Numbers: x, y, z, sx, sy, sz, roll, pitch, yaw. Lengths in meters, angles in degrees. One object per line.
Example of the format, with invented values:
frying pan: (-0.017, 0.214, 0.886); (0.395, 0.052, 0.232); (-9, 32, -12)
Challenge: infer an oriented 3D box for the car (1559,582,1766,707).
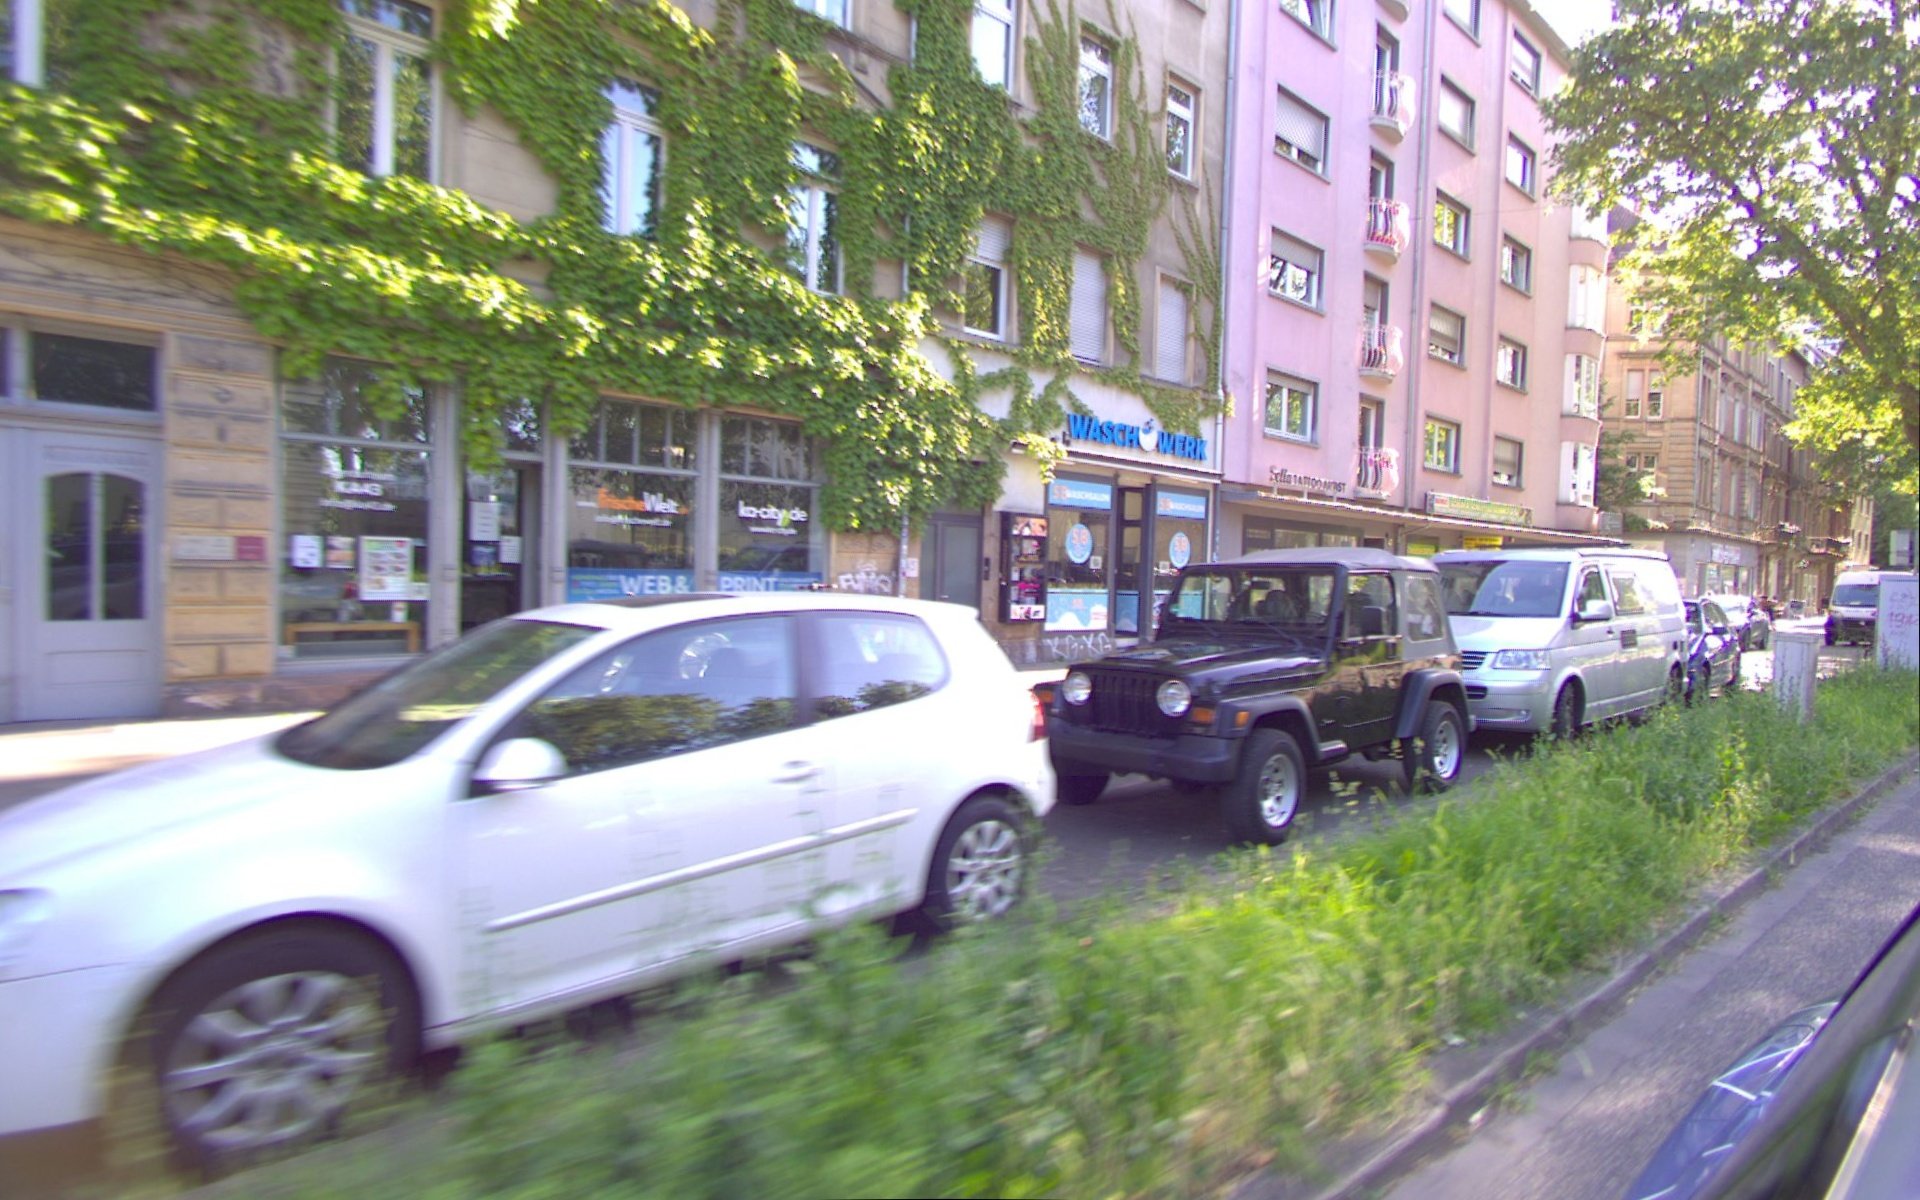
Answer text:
car: (10.027, 0.535, 14.344); (3.764, 1.497, 1.592); (0, 2, -43)

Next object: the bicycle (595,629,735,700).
bicycle: (-3.382, 0.721, 11.677); (1.486, 0.714, 0.469); (0, 2, -41)

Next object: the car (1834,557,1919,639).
car: (30.495, -0.077, 33.071); (5.753, 2.464, 2.078); (0, 1, -41)

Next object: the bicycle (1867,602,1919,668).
bicycle: (18.386, 0.665, 19.911); (1.718, 1.229, 0.466); (0, 2, -37)

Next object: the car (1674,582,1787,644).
car: (22.451, 0.346, 29.442); (4.064, 1.621, 1.814); (0, 2, -41)

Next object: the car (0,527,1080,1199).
car: (-1.479, 0.612, 3.888); (3.932, 1.537, 1.740); (0, 0, -43)

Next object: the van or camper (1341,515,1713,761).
van or camper: (6.206, 0.274, 10.768); (5.007, 2.038, 1.887); (0, 2, -42)

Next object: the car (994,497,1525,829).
car: (2.342, 0.301, 7.433); (3.930, 1.785, 1.868); (0, 2, -41)

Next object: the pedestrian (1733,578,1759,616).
pedestrian: (33.918, -0.143, 43.658); (0.718, 1.585, 0.737); (1, 1, -42)
